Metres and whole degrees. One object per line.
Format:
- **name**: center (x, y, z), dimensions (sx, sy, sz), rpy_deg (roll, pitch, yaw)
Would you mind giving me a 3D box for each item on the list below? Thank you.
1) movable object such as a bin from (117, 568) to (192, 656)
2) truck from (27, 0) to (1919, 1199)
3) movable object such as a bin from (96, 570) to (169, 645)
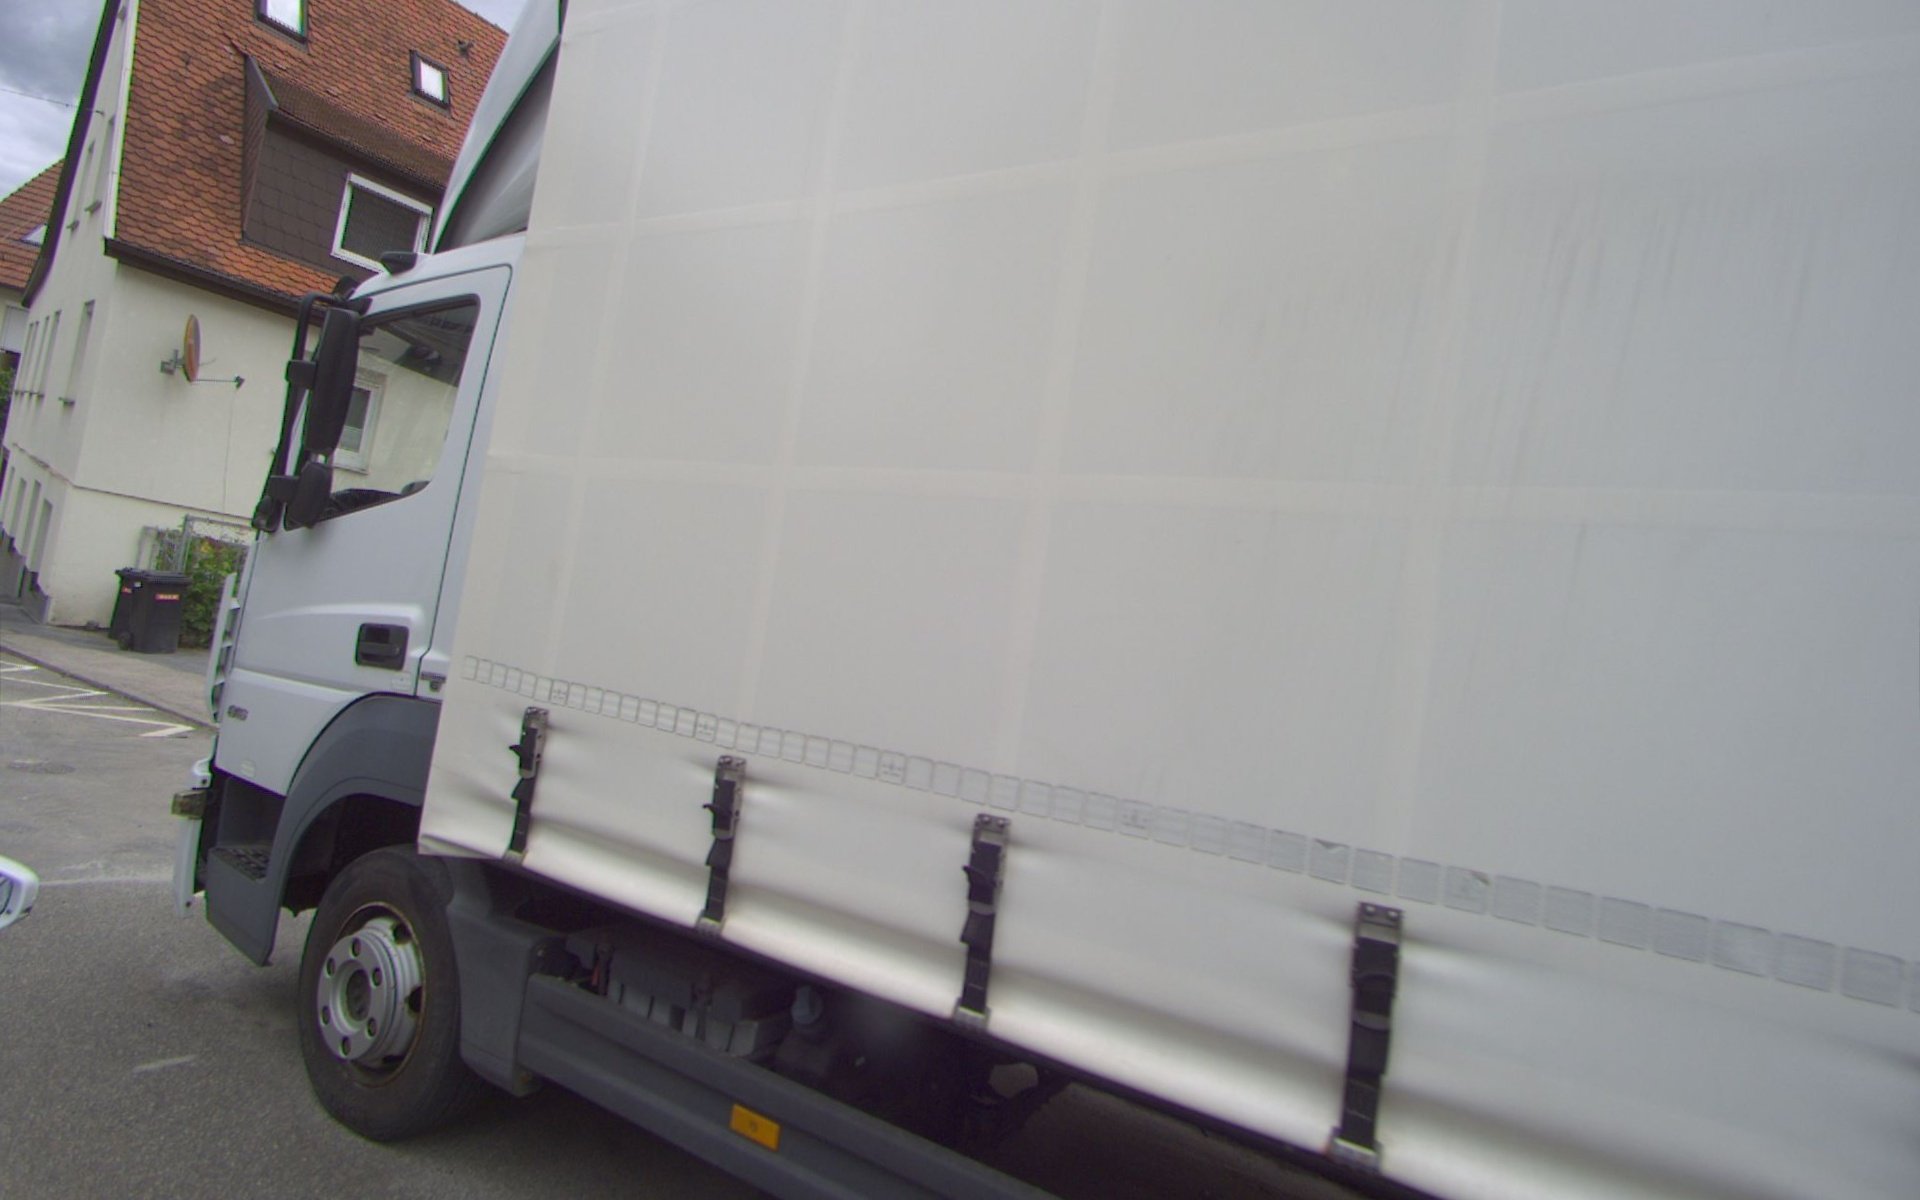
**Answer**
- **movable object such as a bin**: center (-9.198, 0.142, 11.489), dimensions (0.533, 0.928, 0.464), rpy_deg (7, 1, 33)
- **truck**: center (1.247, 0.044, 2.480), dimensions (7.970, 3.634, 2.685), rpy_deg (7, -4, 31)
- **movable object such as a bin**: center (-10.598, 0.097, 12.901), dimensions (0.445, 0.875, 0.434), rpy_deg (10, -1, -8)
